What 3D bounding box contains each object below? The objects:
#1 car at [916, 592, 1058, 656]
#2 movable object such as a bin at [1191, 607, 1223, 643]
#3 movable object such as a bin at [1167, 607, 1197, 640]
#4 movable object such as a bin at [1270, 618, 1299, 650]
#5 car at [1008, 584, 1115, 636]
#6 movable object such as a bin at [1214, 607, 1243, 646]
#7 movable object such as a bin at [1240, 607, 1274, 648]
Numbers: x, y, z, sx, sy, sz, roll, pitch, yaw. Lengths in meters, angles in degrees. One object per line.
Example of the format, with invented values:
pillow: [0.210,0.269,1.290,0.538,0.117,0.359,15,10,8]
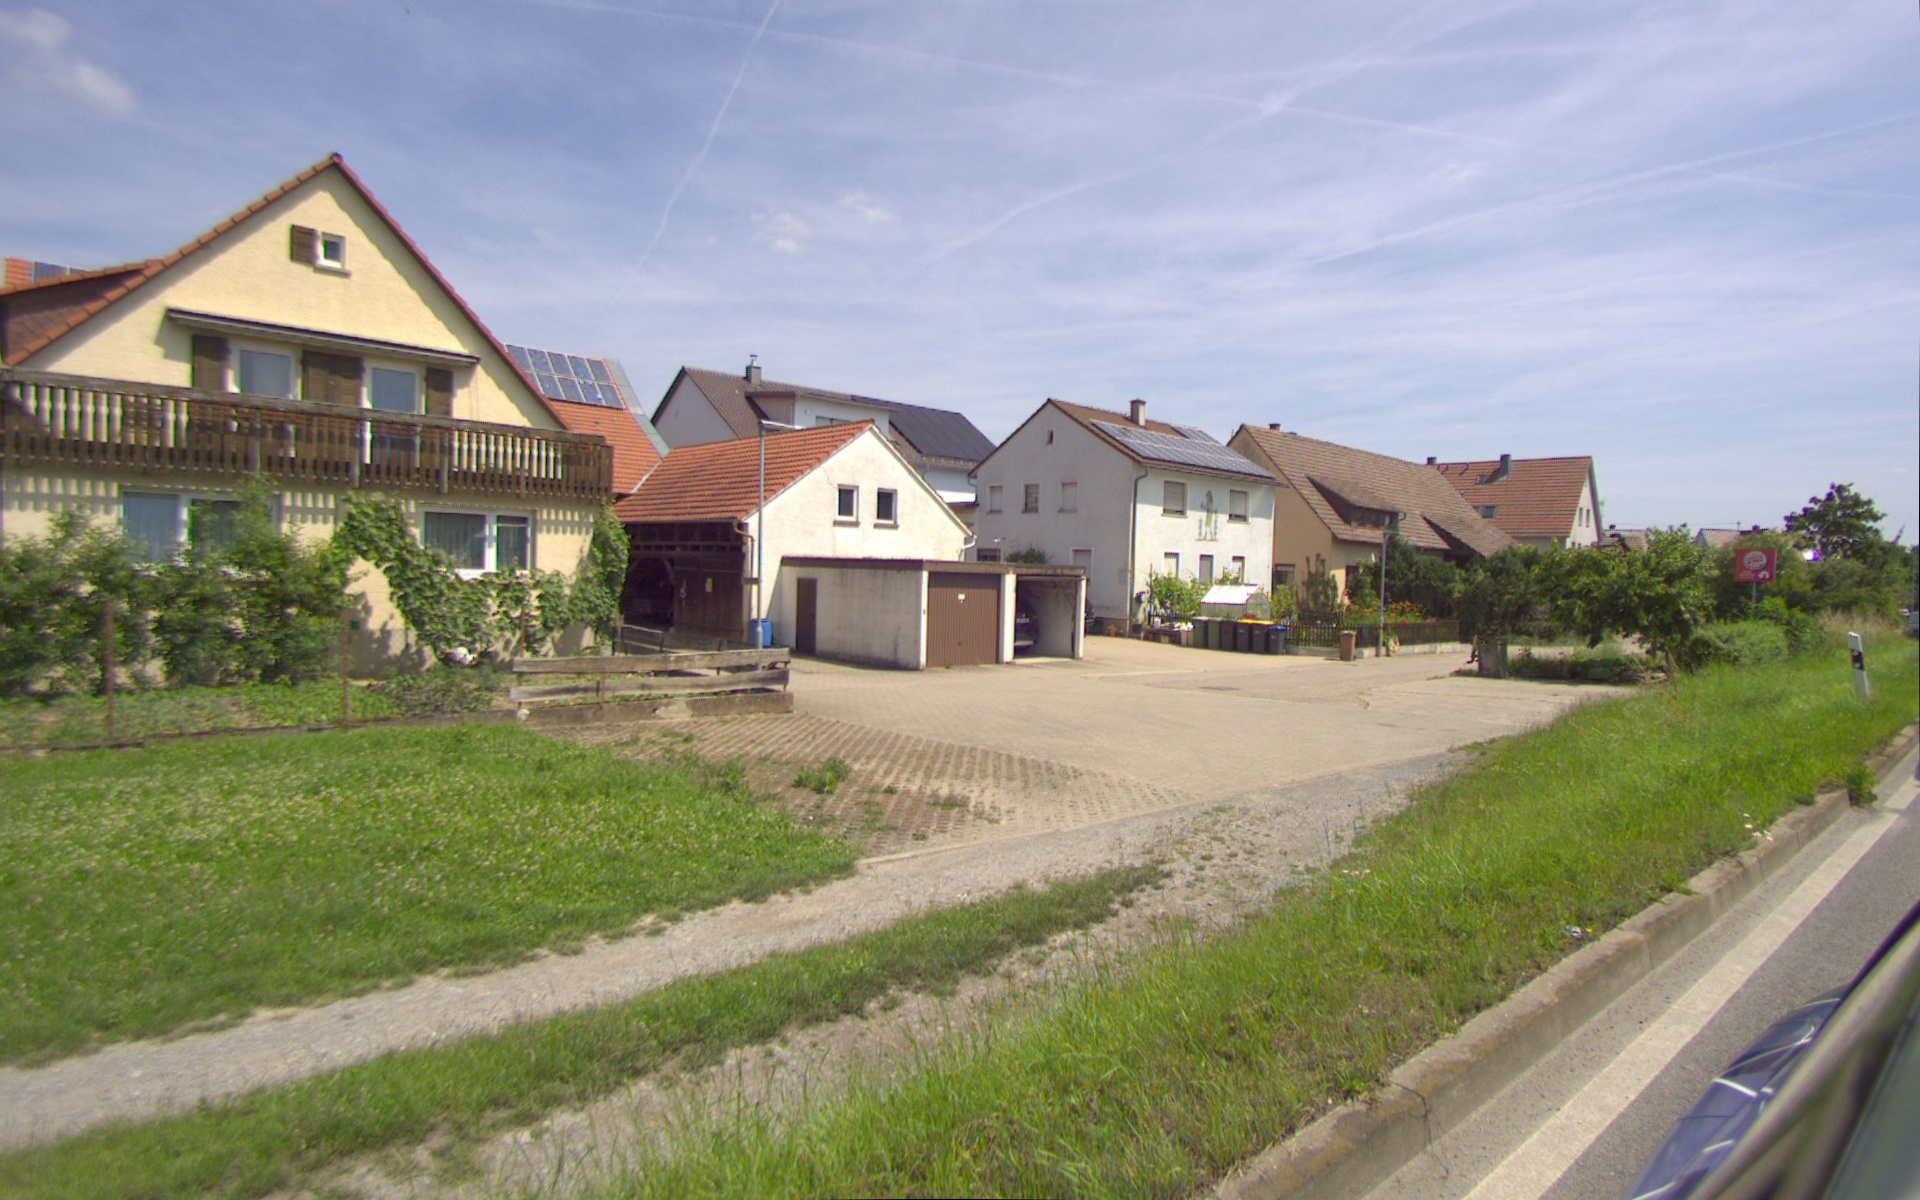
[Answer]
car: [0.692,0.616,28.518,1.794,1.624,3.995,1,1,-40]
movable object such as a bin: [8.904,0.879,36.479,0.874,1.262,0.744,1,-1,-42]
movable object such as a bin: [8.105,0.856,37.015,0.815,1.171,0.739,1,-1,-42]
movable object such as a bin: [10.854,1.144,33.854,0.743,1.040,0.645,1,-1,-42]
car: [3.900,0.334,39.327,1.796,1.755,3.995,0,3,-41]
movable object such as a bin: [9.502,0.924,35.785,0.806,1.355,0.677,1,-1,-42]
movable object such as a bin: [10.144,0.926,34.565,0.930,1.387,0.764,1,-1,-42]
